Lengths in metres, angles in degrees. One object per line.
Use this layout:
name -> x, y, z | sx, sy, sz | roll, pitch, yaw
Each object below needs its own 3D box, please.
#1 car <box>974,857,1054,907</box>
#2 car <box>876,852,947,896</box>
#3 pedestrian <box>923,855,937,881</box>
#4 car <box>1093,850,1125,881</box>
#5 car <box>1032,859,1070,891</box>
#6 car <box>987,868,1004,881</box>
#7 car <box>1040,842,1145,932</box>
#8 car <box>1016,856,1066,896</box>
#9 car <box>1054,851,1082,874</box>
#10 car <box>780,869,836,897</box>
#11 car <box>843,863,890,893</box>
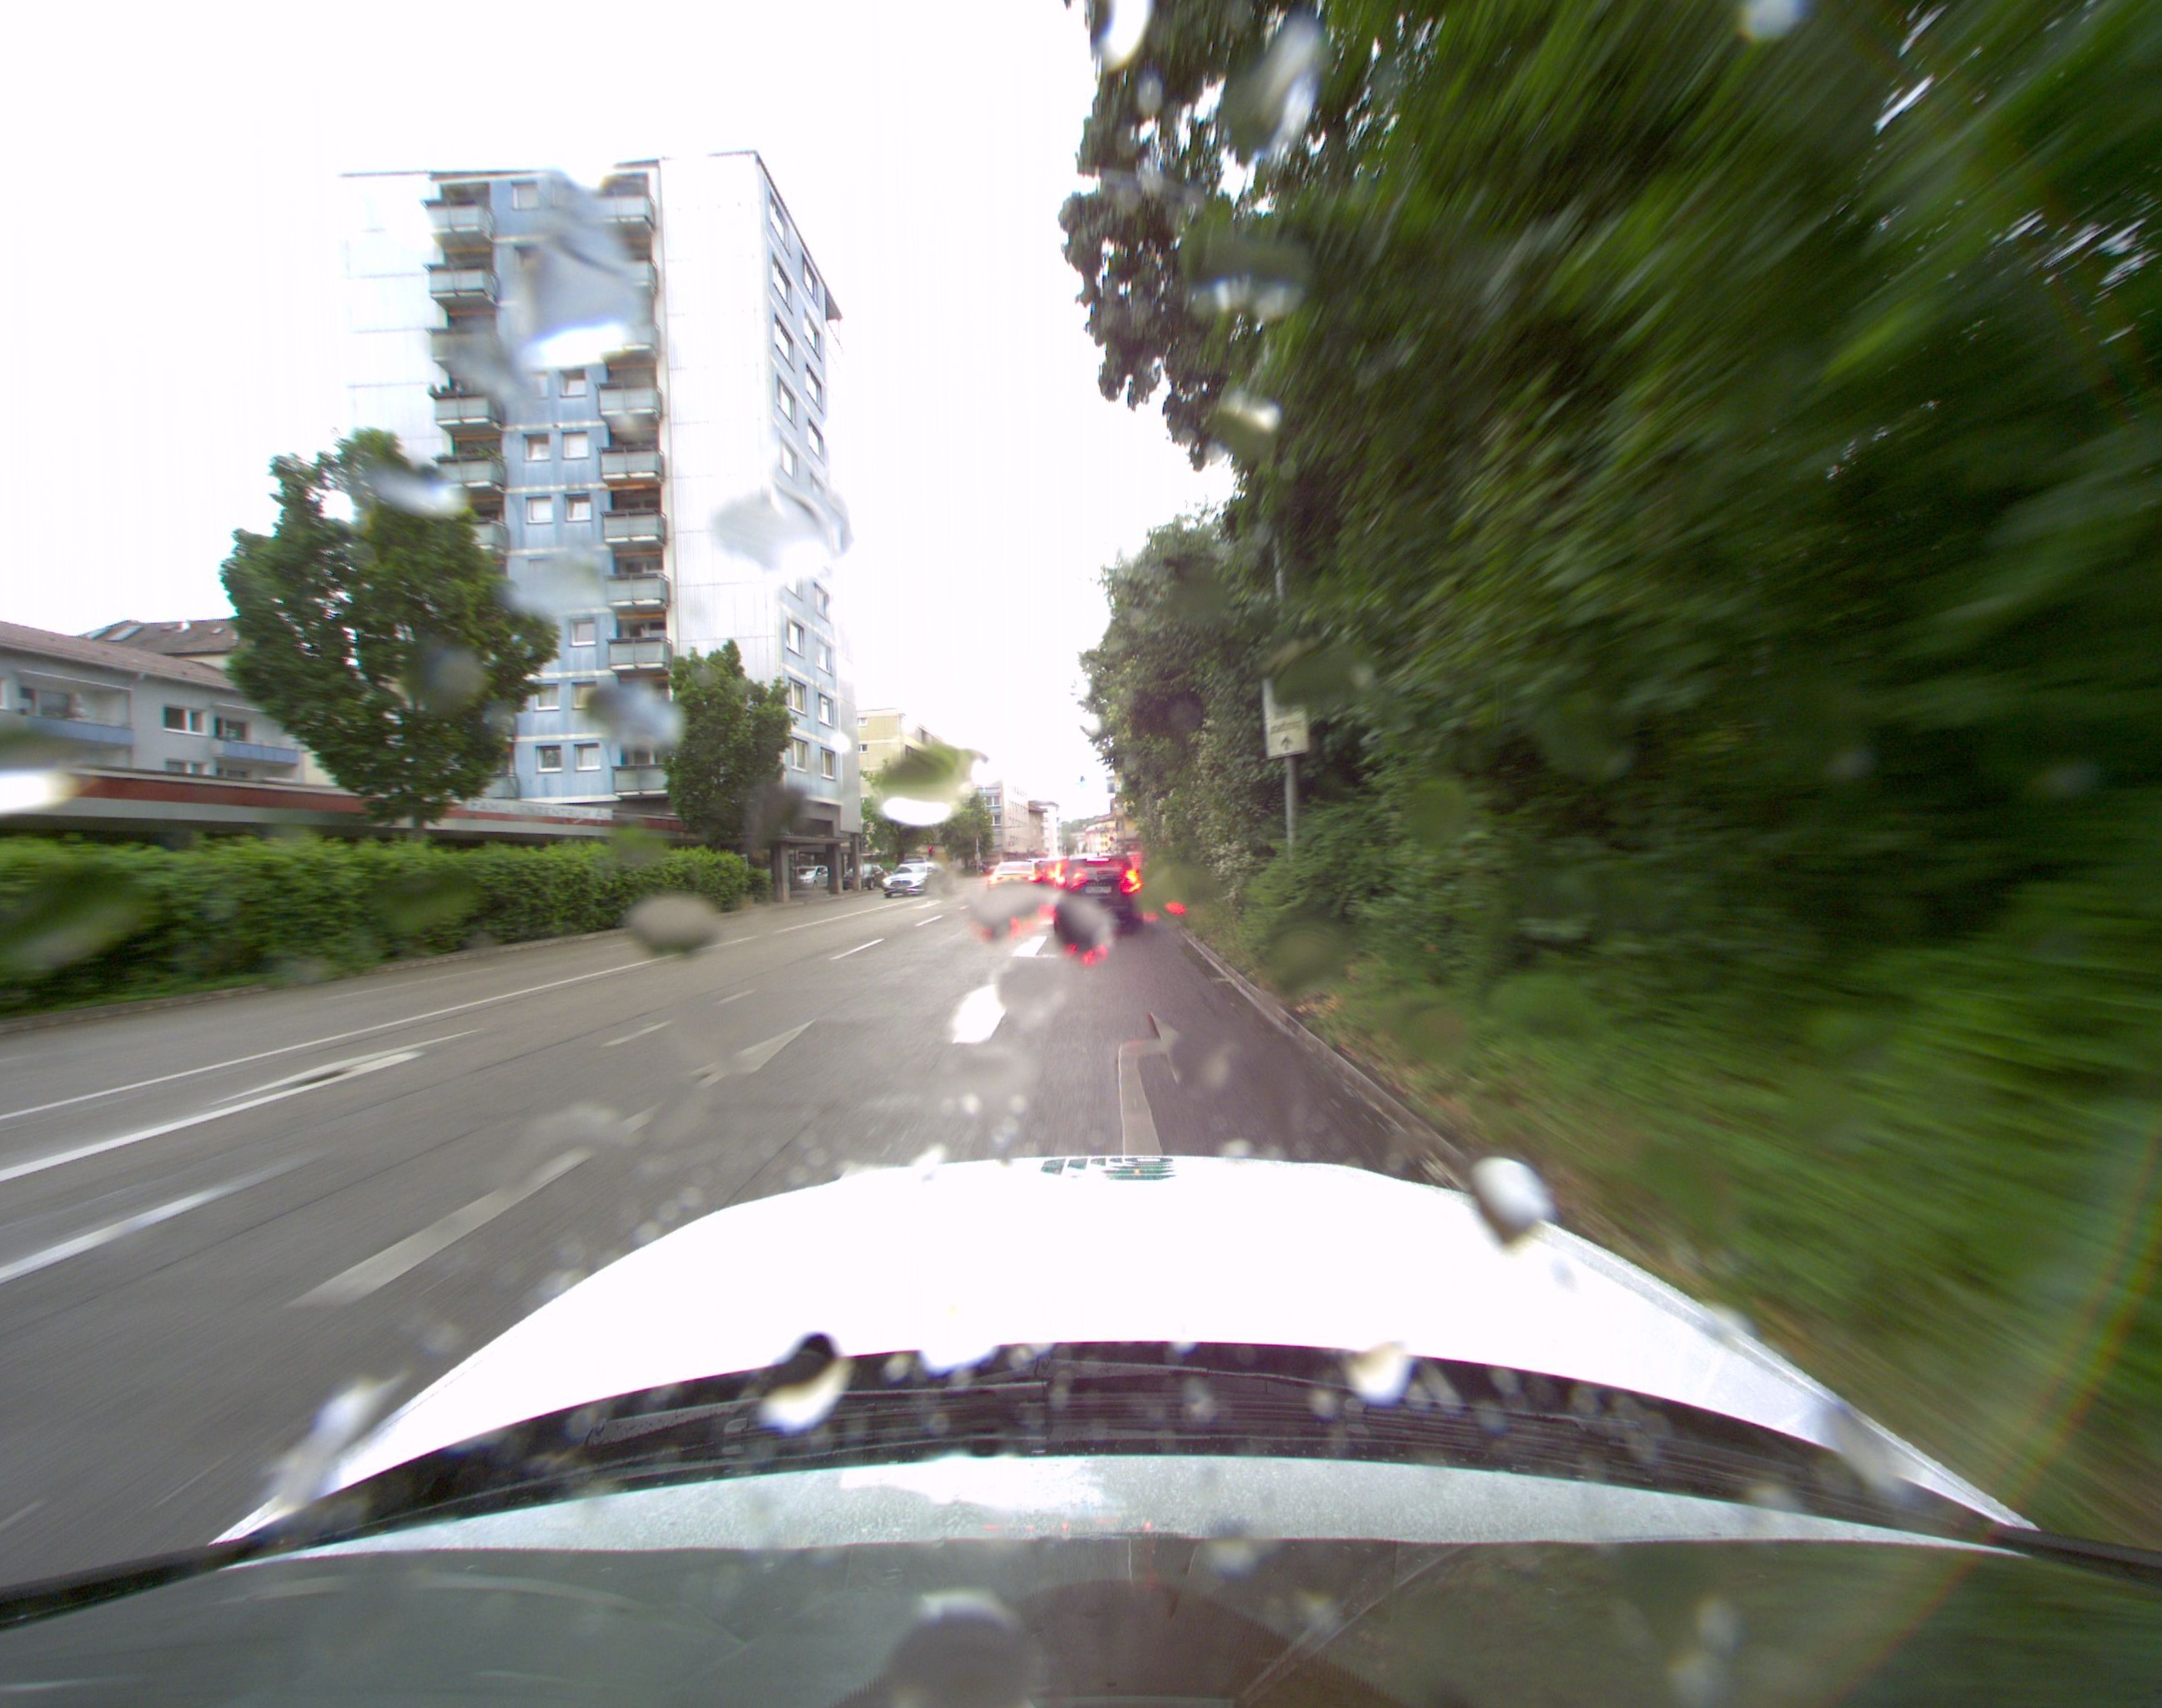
car -> -2.167, 0.882, 27.609 | 2.058, 1.464, 4.589 | -3, 0, 2
car -> -7.666, 0.874, 37.327 | 1.986, 1.750, 4.809 | -3, -1, 2
pedestrian -> -12.132, 1.086, 65.342 | 0.939, 2.013, 0.884 | -3, 0, -7
car -> 2.035, 0.805, 57.416 | 1.984, 2.013, 4.005 | -3, 0, 5
car -> -1.447, 0.998, 40.537 | 1.607, 1.420, 3.967 | -2, 0, 1
car -> -11.348, 2.730, 108.155 | 1.667, 1.478, 3.607 | -4, -1, 0
car -> 0.249, 0.635, 17.674 | 1.953, 1.653, 4.000 | -2, 0, 1
car -> -1.631, 0.900, 34.762 | 1.737, 1.487, 4.163 | -3, -1, 2
car -> -0.843, 0.598, 56.554 | 1.761, 1.444, 4.000 | -3, 0, 1
car -> -17.901, 1.848, 53.583 | 1.986, 1.655, 4.512 | -2, -1, 1
car -> -13.168, 1.440, 50.172 | 1.533, 1.706, 4.289 | -2, -1, 2
